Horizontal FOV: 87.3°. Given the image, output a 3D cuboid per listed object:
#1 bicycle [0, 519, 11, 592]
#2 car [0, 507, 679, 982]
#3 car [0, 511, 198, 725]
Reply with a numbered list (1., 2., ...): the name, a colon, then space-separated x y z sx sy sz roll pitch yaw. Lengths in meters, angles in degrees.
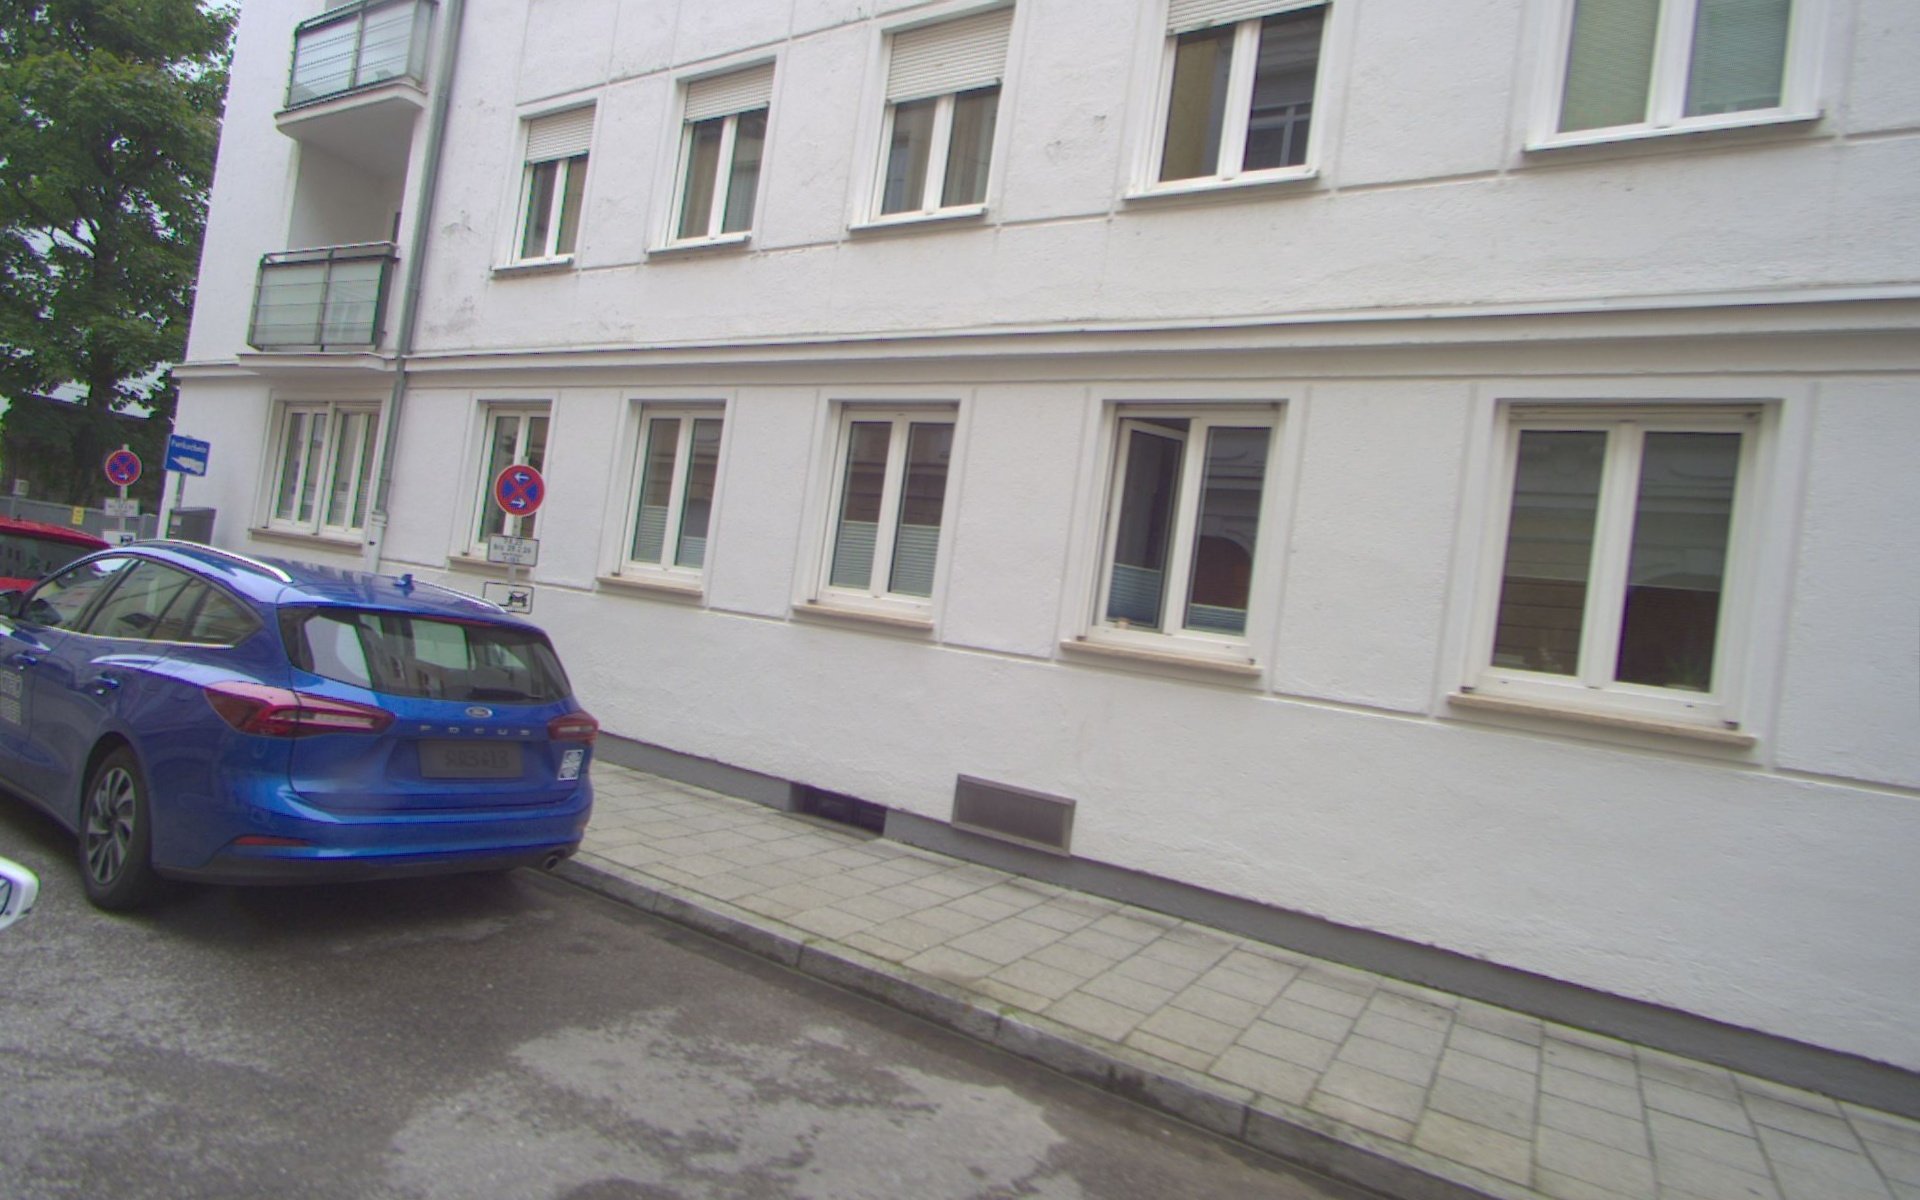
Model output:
1. bicycle: -16.177 -0.806 16.244 1.803 1.212 0.709 10 0 32
2. car: -3.740 0.460 5.286 4.312 1.454 1.799 7 -4 33
3. car: -8.441 -0.080 8.124 4.222 1.462 1.768 7 -4 26
